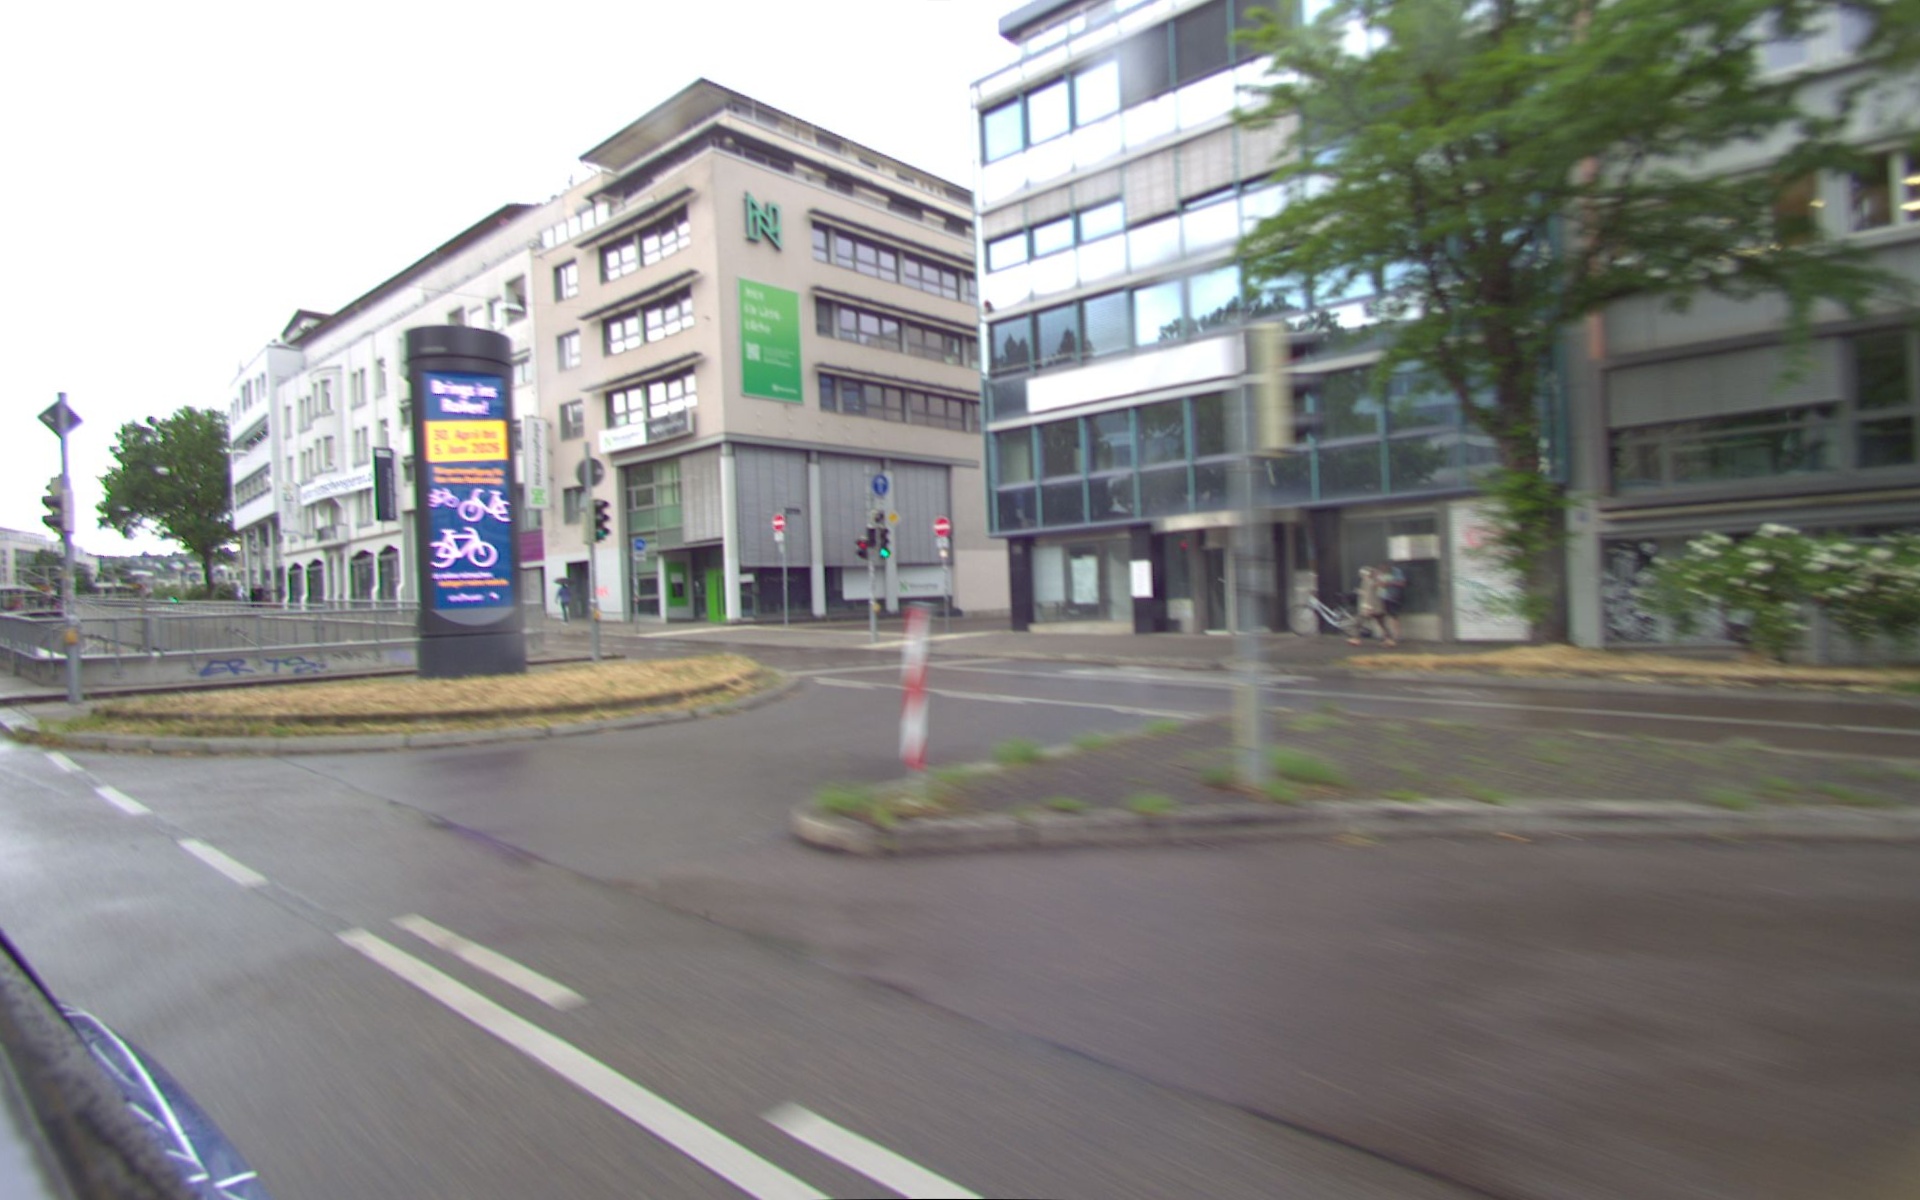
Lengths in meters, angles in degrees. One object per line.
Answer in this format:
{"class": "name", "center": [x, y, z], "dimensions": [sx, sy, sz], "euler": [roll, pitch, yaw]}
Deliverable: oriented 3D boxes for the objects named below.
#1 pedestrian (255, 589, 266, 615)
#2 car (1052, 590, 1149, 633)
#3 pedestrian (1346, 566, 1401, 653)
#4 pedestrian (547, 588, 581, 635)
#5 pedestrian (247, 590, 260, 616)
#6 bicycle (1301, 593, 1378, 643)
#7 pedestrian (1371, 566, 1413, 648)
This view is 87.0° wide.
{"class": "pedestrian", "center": [-49.636, 0.117, 71.787], "dimensions": [0.547, 1.816, 0.463], "euler": [0, 2, 44]}
{"class": "car", "center": [5.508, 0.428, 39.321], "dimensions": [1.998, 1.569, 3.947], "euler": [-1, 0, 39]}
{"class": "pedestrian", "center": [8.563, 0.184, 20.964], "dimensions": [0.876, 1.754, 0.686], "euler": [-1, 1, 39]}
{"class": "pedestrian", "center": [-16.135, 0.462, 41.222], "dimensions": [1.059, 1.852, 0.848], "euler": [-1, 2, 41]}
{"class": "pedestrian", "center": [-50.651, 0.200, 72.538], "dimensions": [0.469, 1.816, 0.541], "euler": [-1, 1, 33]}
{"class": "bicycle", "center": [8.583, 0.410, 22.934], "dimensions": [0.441, 1.093, 1.566], "euler": [-1, 0, -45]}
{"class": "pedestrian", "center": [9.410, 0.141, 22.058], "dimensions": [0.694, 1.754, 0.689], "euler": [-1, 1, 35]}
